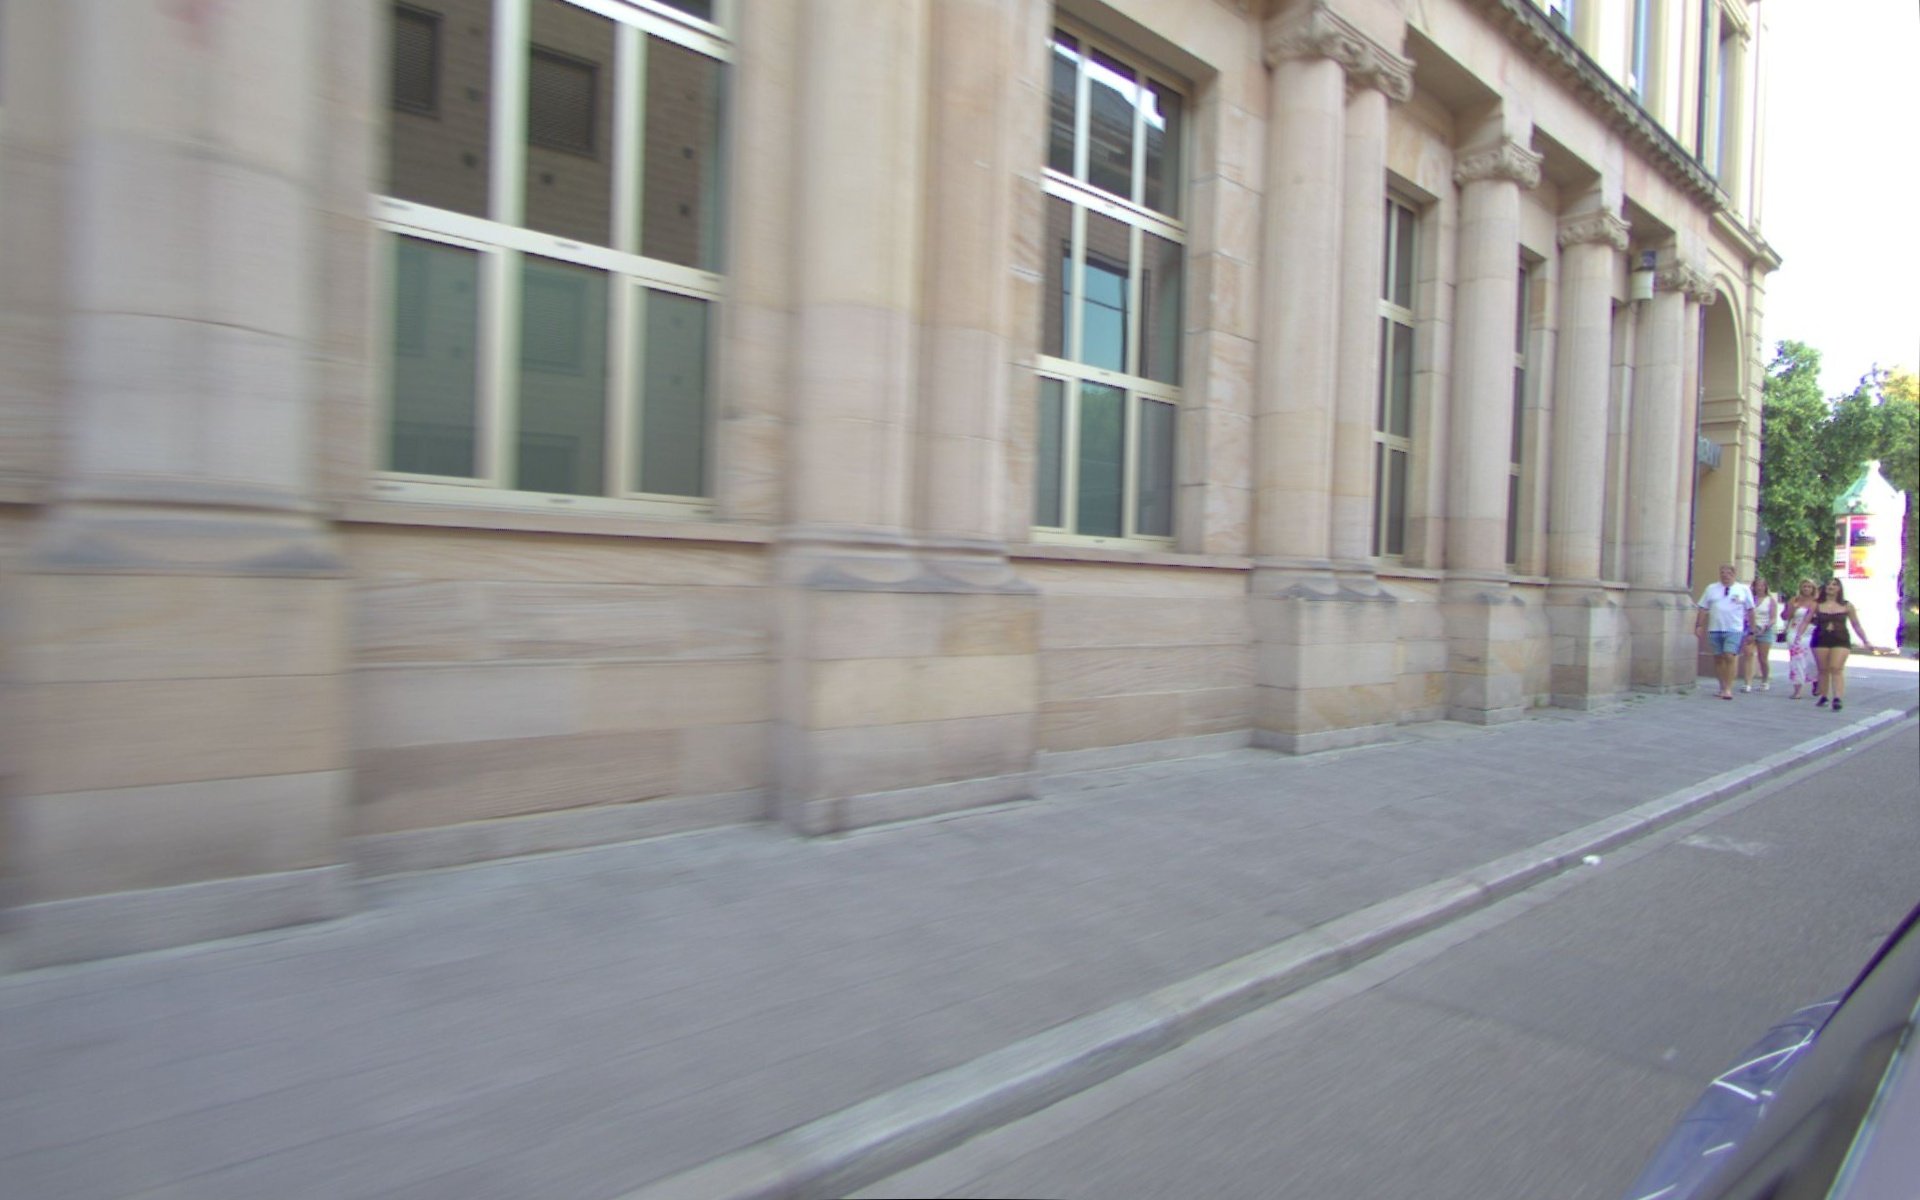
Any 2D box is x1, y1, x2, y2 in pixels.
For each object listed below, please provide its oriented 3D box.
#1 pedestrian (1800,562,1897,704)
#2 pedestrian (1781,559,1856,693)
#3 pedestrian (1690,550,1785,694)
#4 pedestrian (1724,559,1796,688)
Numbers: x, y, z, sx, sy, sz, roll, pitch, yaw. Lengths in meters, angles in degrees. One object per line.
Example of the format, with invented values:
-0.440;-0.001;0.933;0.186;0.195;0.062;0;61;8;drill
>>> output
11.617;0.403;13.239;0.859;1.768;0.777;1;2;-40;pedestrian
12.118;0.348;14.284;0.758;1.825;0.638;1;2;-40;pedestrian
10.720;0.281;13.963;0.859;1.898;0.813;1;2;-40;pedestrian
11.691;0.326;14.792;0.758;1.825;0.638;1;2;-40;pedestrian
